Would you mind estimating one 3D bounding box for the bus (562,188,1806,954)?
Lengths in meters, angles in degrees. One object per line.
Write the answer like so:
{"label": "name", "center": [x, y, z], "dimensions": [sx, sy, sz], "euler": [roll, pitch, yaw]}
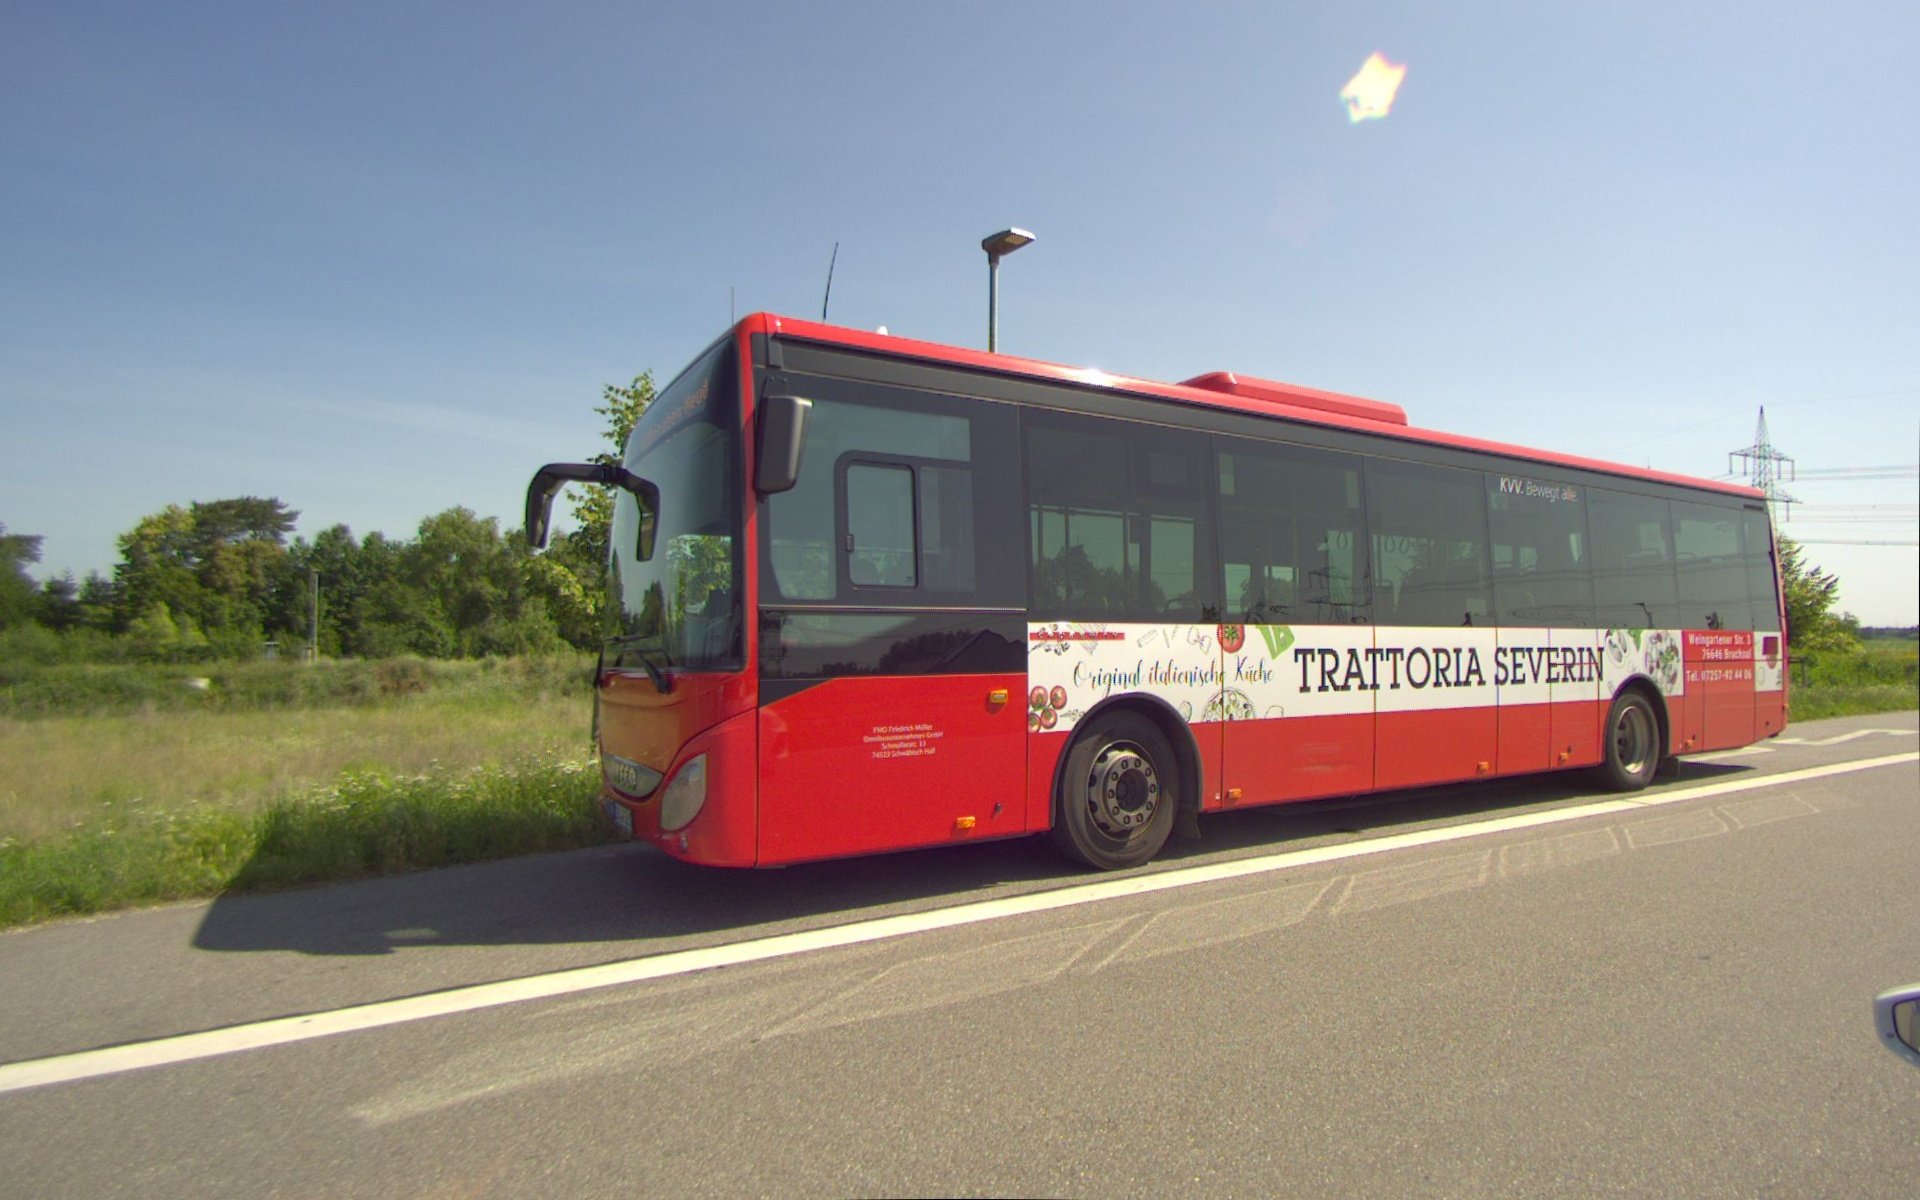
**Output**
{"label": "bus", "center": [3.179, -0.004, 8.754], "dimensions": [12.092, 3.330, 2.780], "euler": [1, -2, -32]}
